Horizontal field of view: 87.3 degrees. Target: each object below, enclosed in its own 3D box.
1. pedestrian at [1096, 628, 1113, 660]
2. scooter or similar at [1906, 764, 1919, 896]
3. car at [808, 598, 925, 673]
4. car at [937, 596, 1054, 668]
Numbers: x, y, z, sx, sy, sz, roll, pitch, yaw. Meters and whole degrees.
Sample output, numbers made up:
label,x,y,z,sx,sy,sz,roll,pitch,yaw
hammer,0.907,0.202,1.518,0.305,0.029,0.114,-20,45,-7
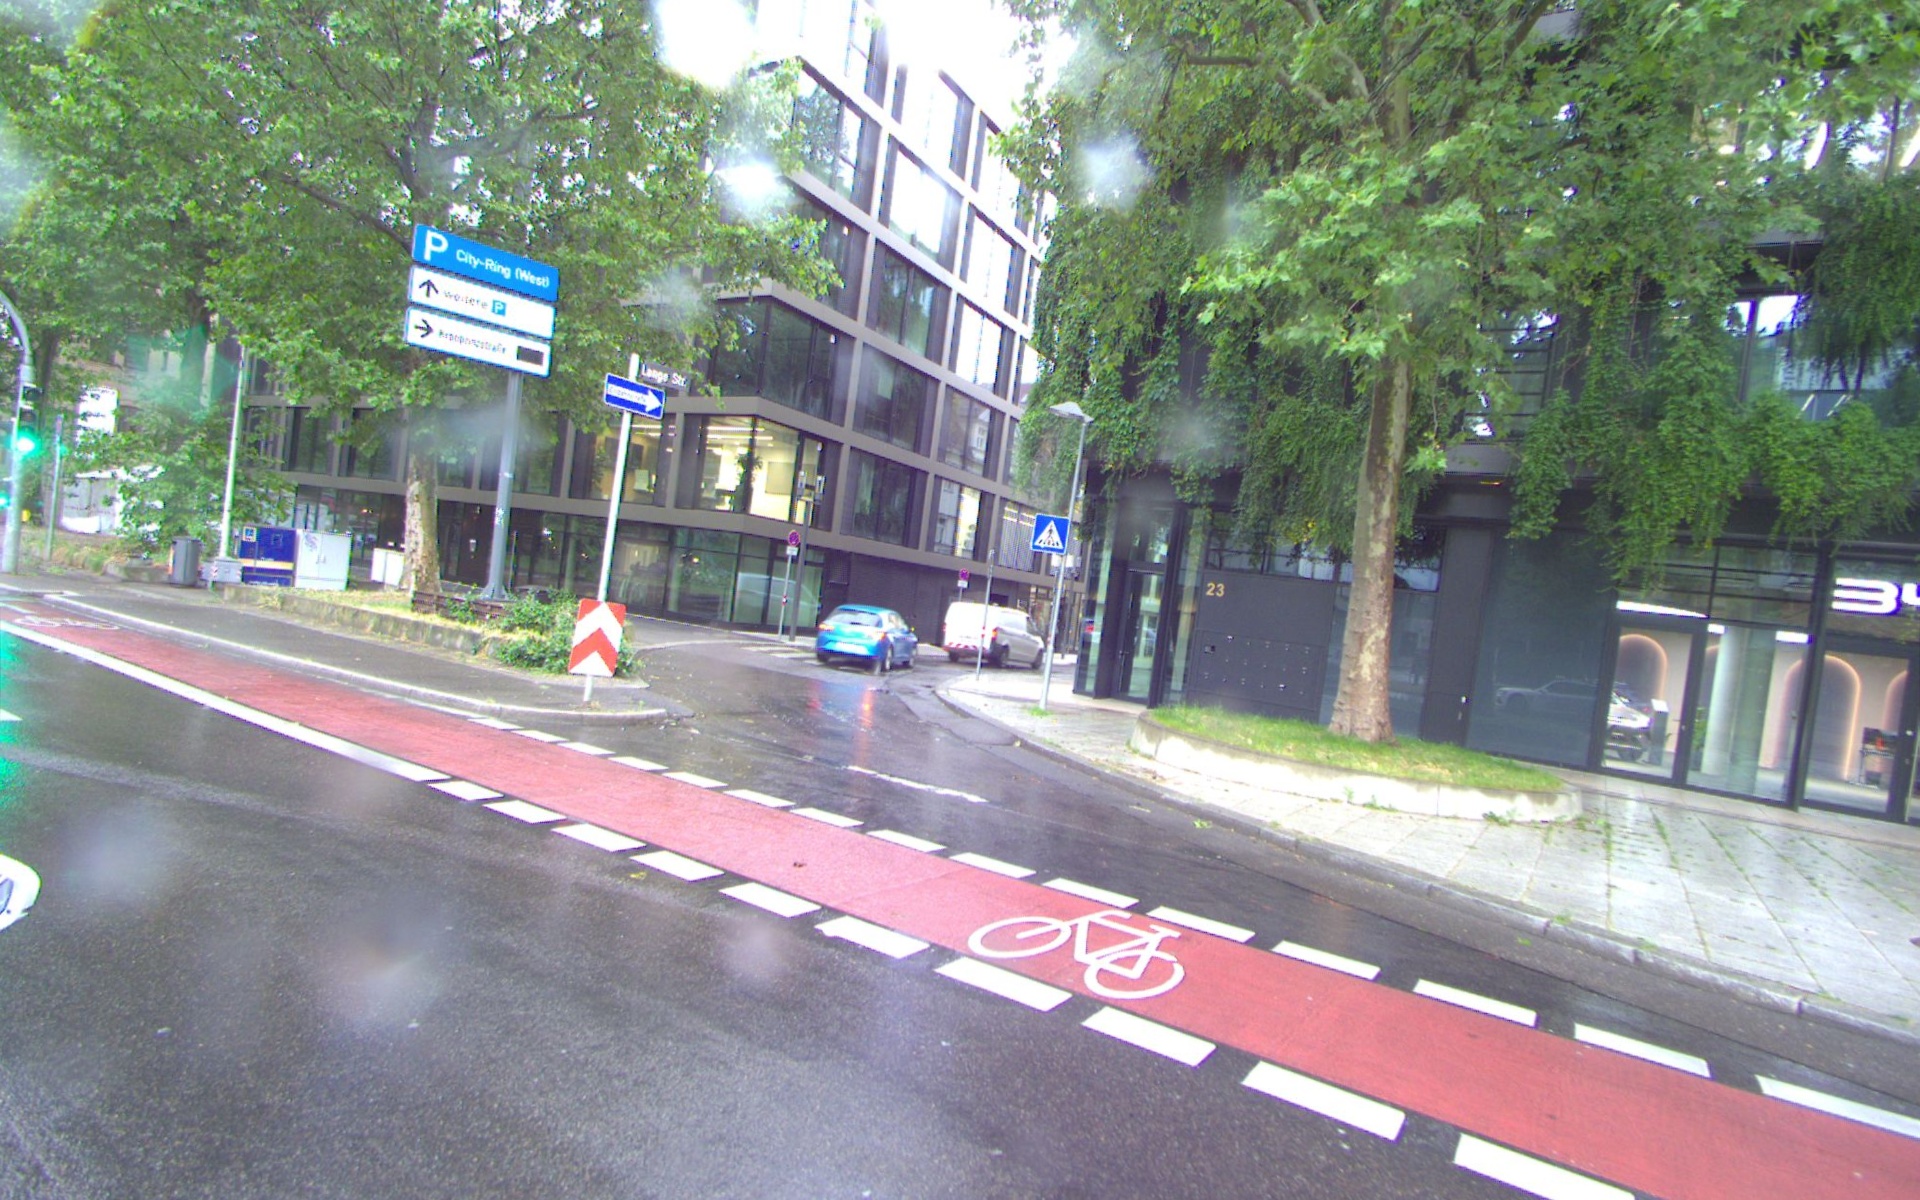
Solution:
label,x,y,z,sx,sy,sz,roll,pitch,yaw
pedestrian,7.335,2.231,50.938,0.537,1.579,0.503,6,-1,29
scooter or similar,8.528,1.885,8.085,0.528,1.297,1.184,7,-1,-8
car,-2.152,0.858,24.361,1.767,1.453,4.065,6,-1,9
car,1.267,1.110,32.862,1.891,1.969,4.960,6,-1,25
